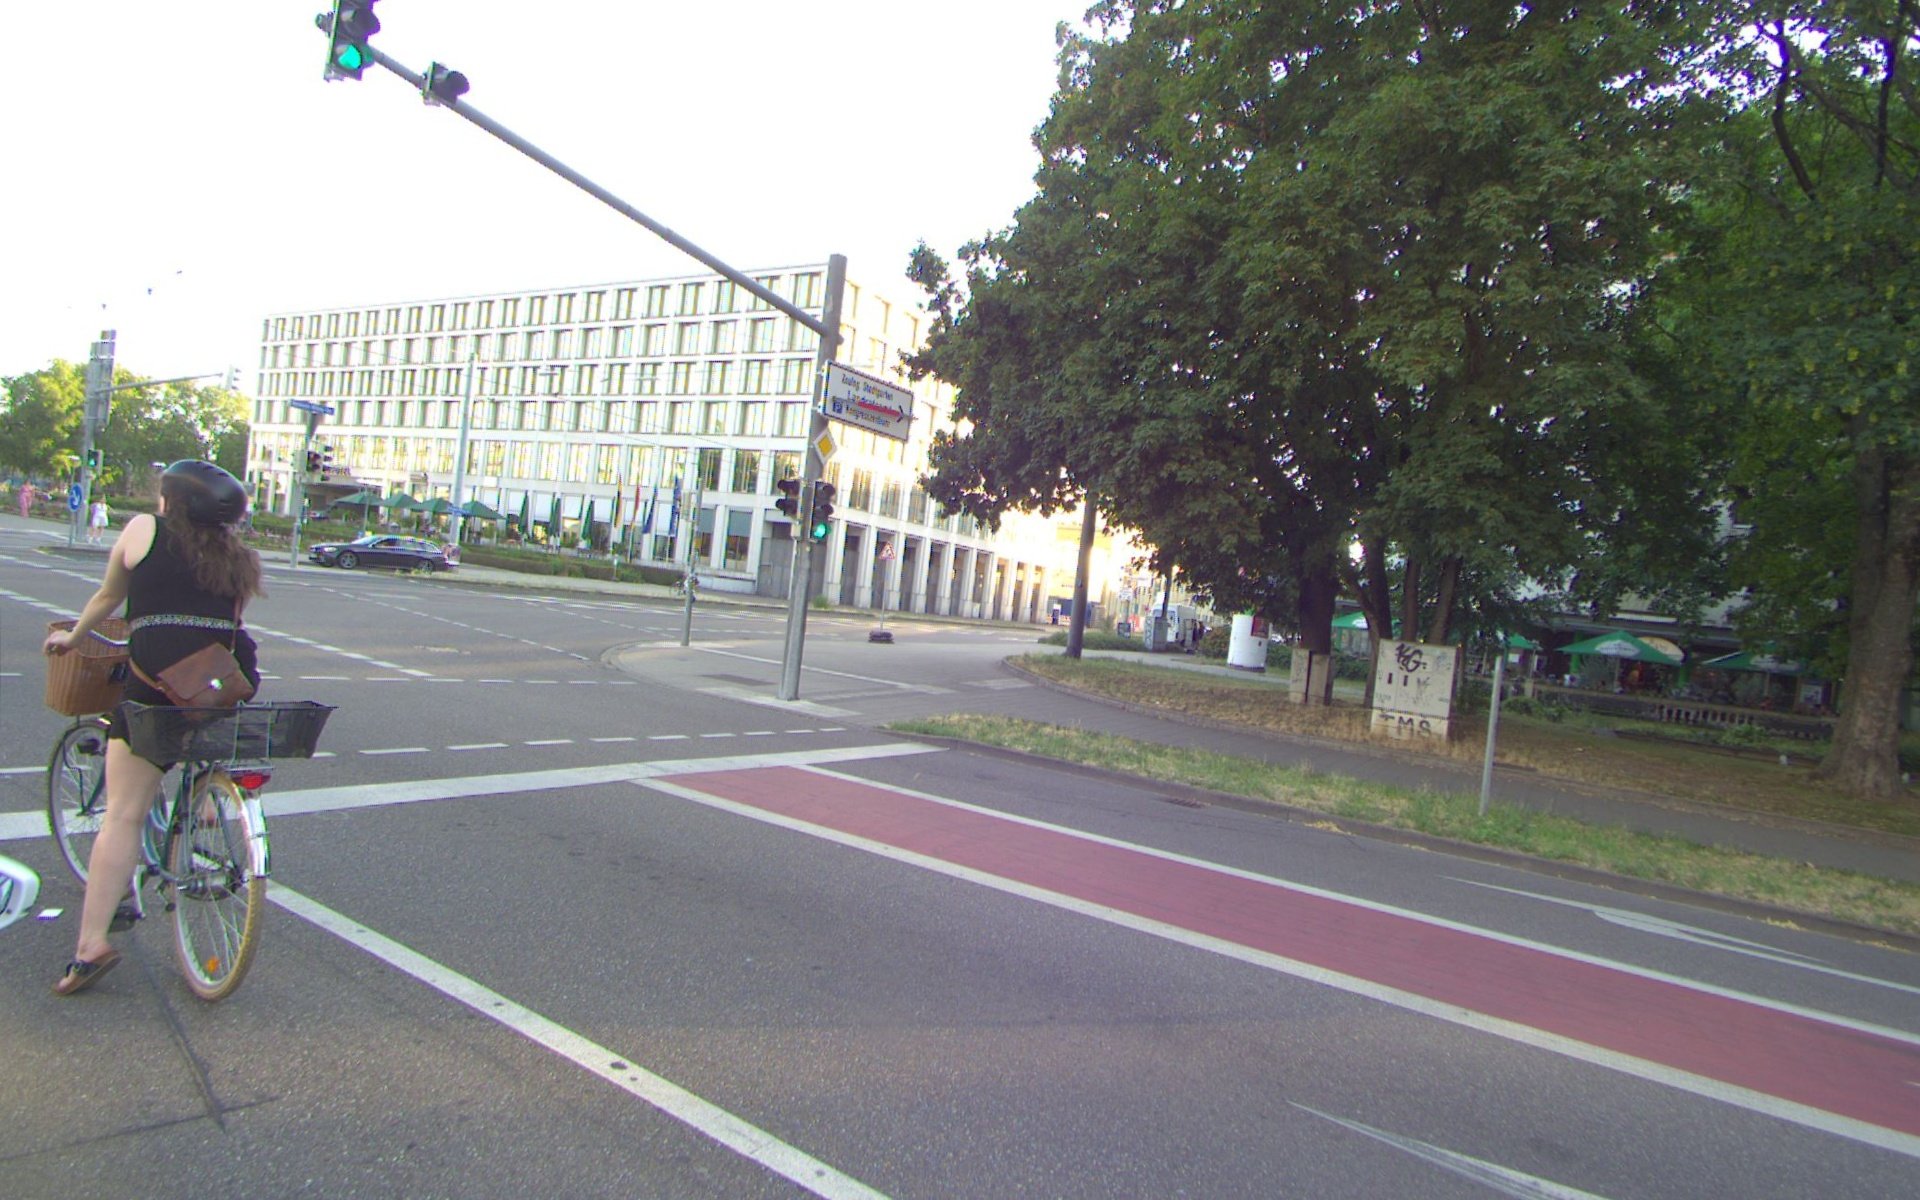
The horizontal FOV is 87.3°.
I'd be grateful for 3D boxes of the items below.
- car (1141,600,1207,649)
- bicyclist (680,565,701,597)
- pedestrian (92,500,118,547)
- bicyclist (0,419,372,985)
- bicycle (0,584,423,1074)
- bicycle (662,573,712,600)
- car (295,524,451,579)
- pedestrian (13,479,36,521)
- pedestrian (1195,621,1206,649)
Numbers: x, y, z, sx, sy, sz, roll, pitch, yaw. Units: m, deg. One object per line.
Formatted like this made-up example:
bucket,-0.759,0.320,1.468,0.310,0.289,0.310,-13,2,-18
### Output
car,11.886,1.389,55.612,1.967,2.318,4.605,6,0,31
bicyclist,-13.760,-0.960,51.384,0.567,1.556,0.708,7,1,29
pedestrian,-29.806,-2.664,35.063,0.402,1.559,0.491,7,2,31
bicyclist,-2.686,0.277,3.447,0.982,1.655,0.600,7,0,32
bicycle,-2.770,0.625,3.467,1.971,1.146,0.612,7,-1,32
bicycle,-13.880,-0.671,51.200,0.592,1.120,2.775,7,0,29
car,-22.951,-1.866,39.529,1.968,1.534,4.826,7,0,34
pedestrian,-39.082,-4.166,42.017,0.557,1.678,0.460,7,2,32
pedestrian,13.340,1.952,55.806,0.302,1.525,0.336,7,-1,31
